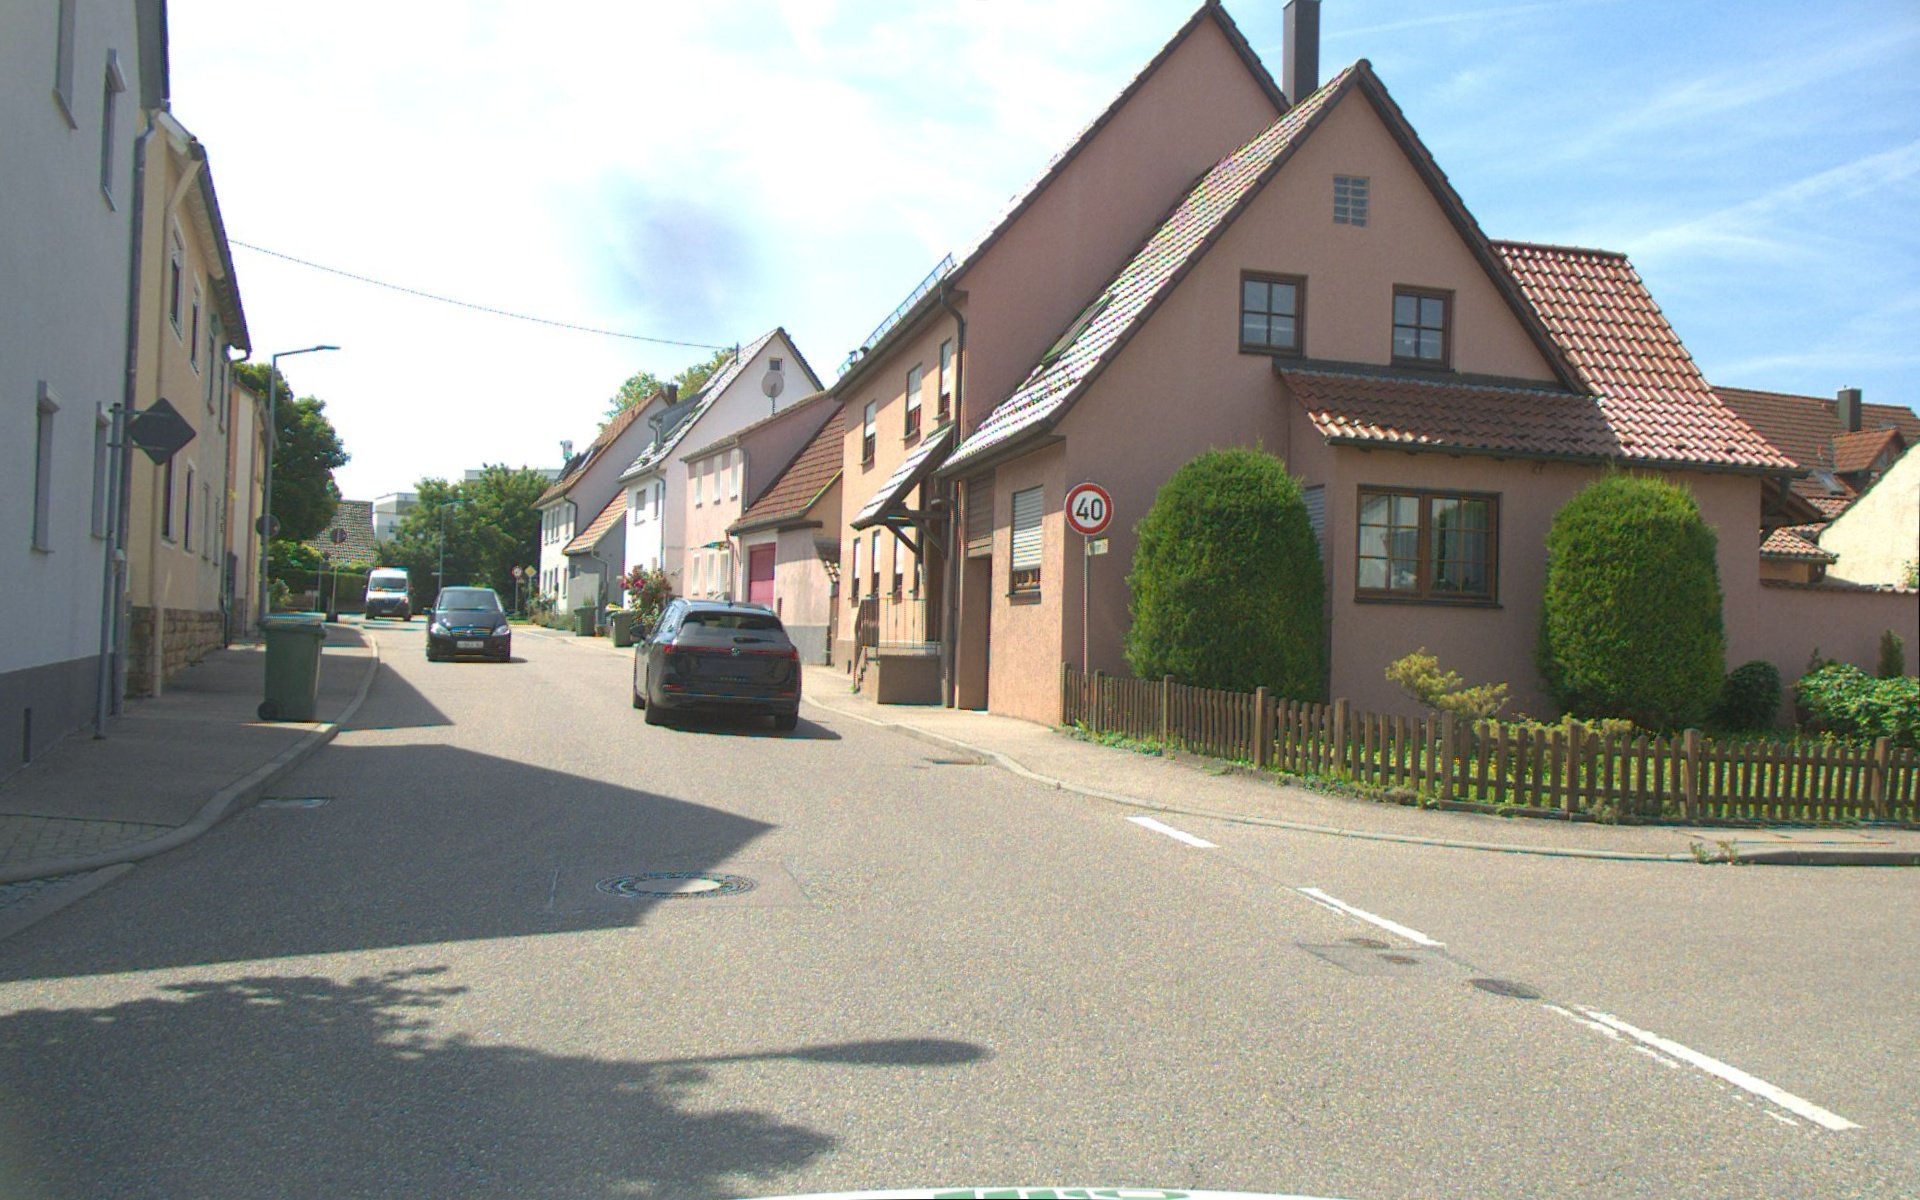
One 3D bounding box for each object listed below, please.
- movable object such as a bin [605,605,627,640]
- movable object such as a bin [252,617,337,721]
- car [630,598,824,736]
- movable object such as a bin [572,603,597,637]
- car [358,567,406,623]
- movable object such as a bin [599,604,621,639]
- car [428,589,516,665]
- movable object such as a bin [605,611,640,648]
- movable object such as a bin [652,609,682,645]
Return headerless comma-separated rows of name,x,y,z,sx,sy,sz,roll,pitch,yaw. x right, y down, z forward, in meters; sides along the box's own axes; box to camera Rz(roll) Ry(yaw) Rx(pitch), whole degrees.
movable object such as a bin,-12.299,0.788,59.143,0.655,1.215,0.584,3,-1,-22
movable object such as a bin,-7.292,0.753,18.156,0.741,1.079,0.677,3,-1,-15
car,-2.985,0.738,20.325,1.810,1.445,4.664,3,0,-14
movable object such as a bin,-13.566,0.718,59.701,0.670,1.175,0.813,3,-1,-26
car,-28.662,-0.252,81.895,2.083,2.607,5.792,2,0,-20
movable object such as a bin,-12.642,0.769,59.740,0.655,1.215,0.656,3,-1,-22
car,-10.963,0.572,37.170,1.771,1.583,4.052,1,0,-17
movable object such as a bin,-10.408,0.905,51.022,0.865,1.093,0.865,-2,1,-26
movable object such as a bin,-8.954,0.824,50.528,0.670,1.068,0.828,-2,1,-26
